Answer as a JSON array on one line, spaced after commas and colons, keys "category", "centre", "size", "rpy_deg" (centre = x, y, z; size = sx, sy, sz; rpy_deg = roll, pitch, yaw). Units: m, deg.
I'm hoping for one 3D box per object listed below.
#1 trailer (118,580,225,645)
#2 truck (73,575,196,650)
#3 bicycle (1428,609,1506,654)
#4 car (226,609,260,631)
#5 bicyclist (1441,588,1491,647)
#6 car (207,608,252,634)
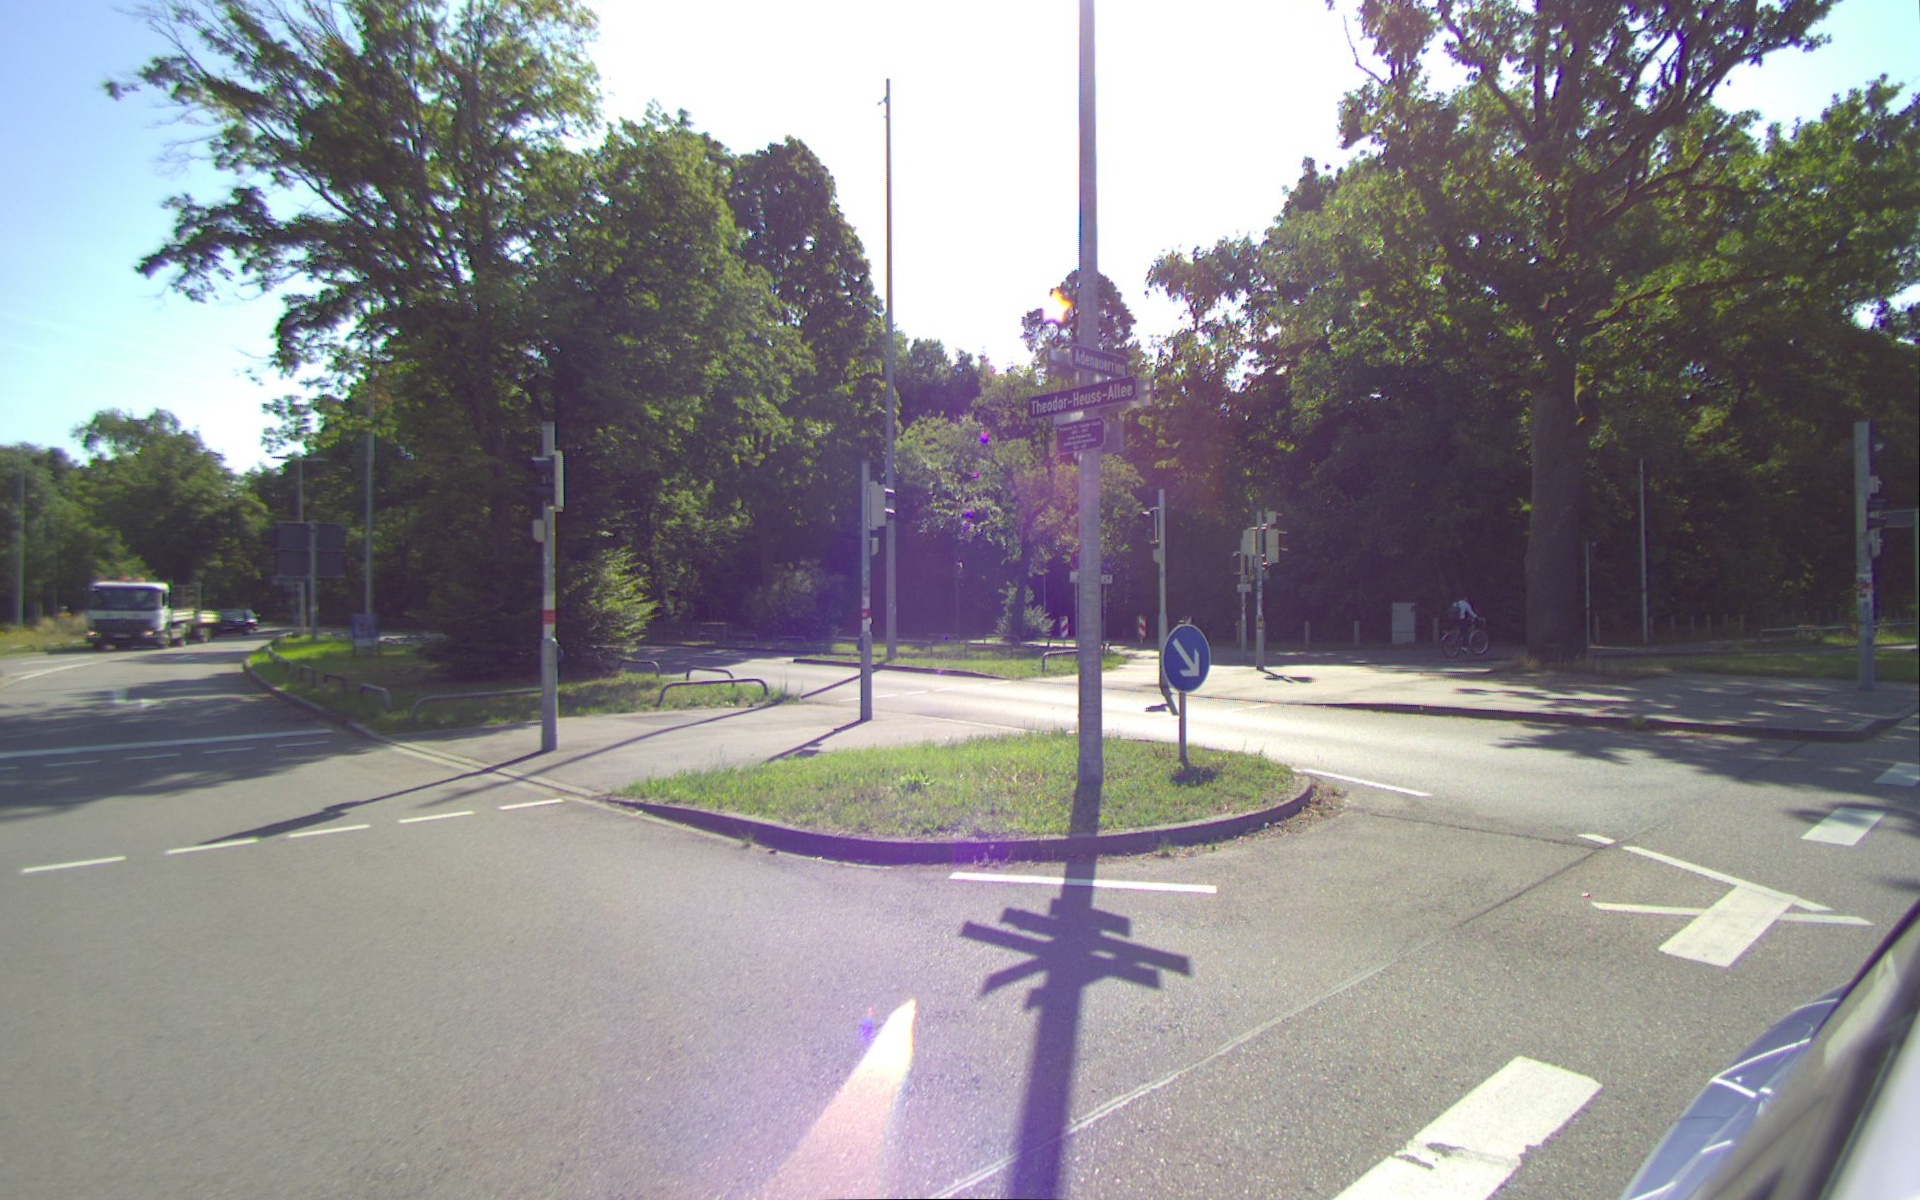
[{"category": "trailer", "centre": [-35.995, 0.538, 46.427], "size": [2.649, 2.722, 6.897], "rpy_deg": [-1, 0, -28]}, {"category": "truck", "centre": [-32.914, 0.464, 40.595], "size": [2.626, 2.752, 6.211], "rpy_deg": [-1, 0, -28]}, {"category": "bicycle", "centre": [14.478, 0.887, 28.885], "size": [2.056, 1.215, 0.728], "rpy_deg": [0, -1, -17]}, {"category": "car", "centre": [-53.186, 1.457, 75.090], "size": [1.962, 1.505, 3.999], "rpy_deg": [0, 0, -35]}, {"category": "bicyclist", "centre": [14.417, 0.486, 28.865], "size": [1.035, 1.660, 0.728], "rpy_deg": [0, -1, -17]}, {"category": "car", "centre": [-43.770, 1.240, 60.695], "size": [1.810, 1.502, 4.003], "rpy_deg": [0, 0, -30]}]
